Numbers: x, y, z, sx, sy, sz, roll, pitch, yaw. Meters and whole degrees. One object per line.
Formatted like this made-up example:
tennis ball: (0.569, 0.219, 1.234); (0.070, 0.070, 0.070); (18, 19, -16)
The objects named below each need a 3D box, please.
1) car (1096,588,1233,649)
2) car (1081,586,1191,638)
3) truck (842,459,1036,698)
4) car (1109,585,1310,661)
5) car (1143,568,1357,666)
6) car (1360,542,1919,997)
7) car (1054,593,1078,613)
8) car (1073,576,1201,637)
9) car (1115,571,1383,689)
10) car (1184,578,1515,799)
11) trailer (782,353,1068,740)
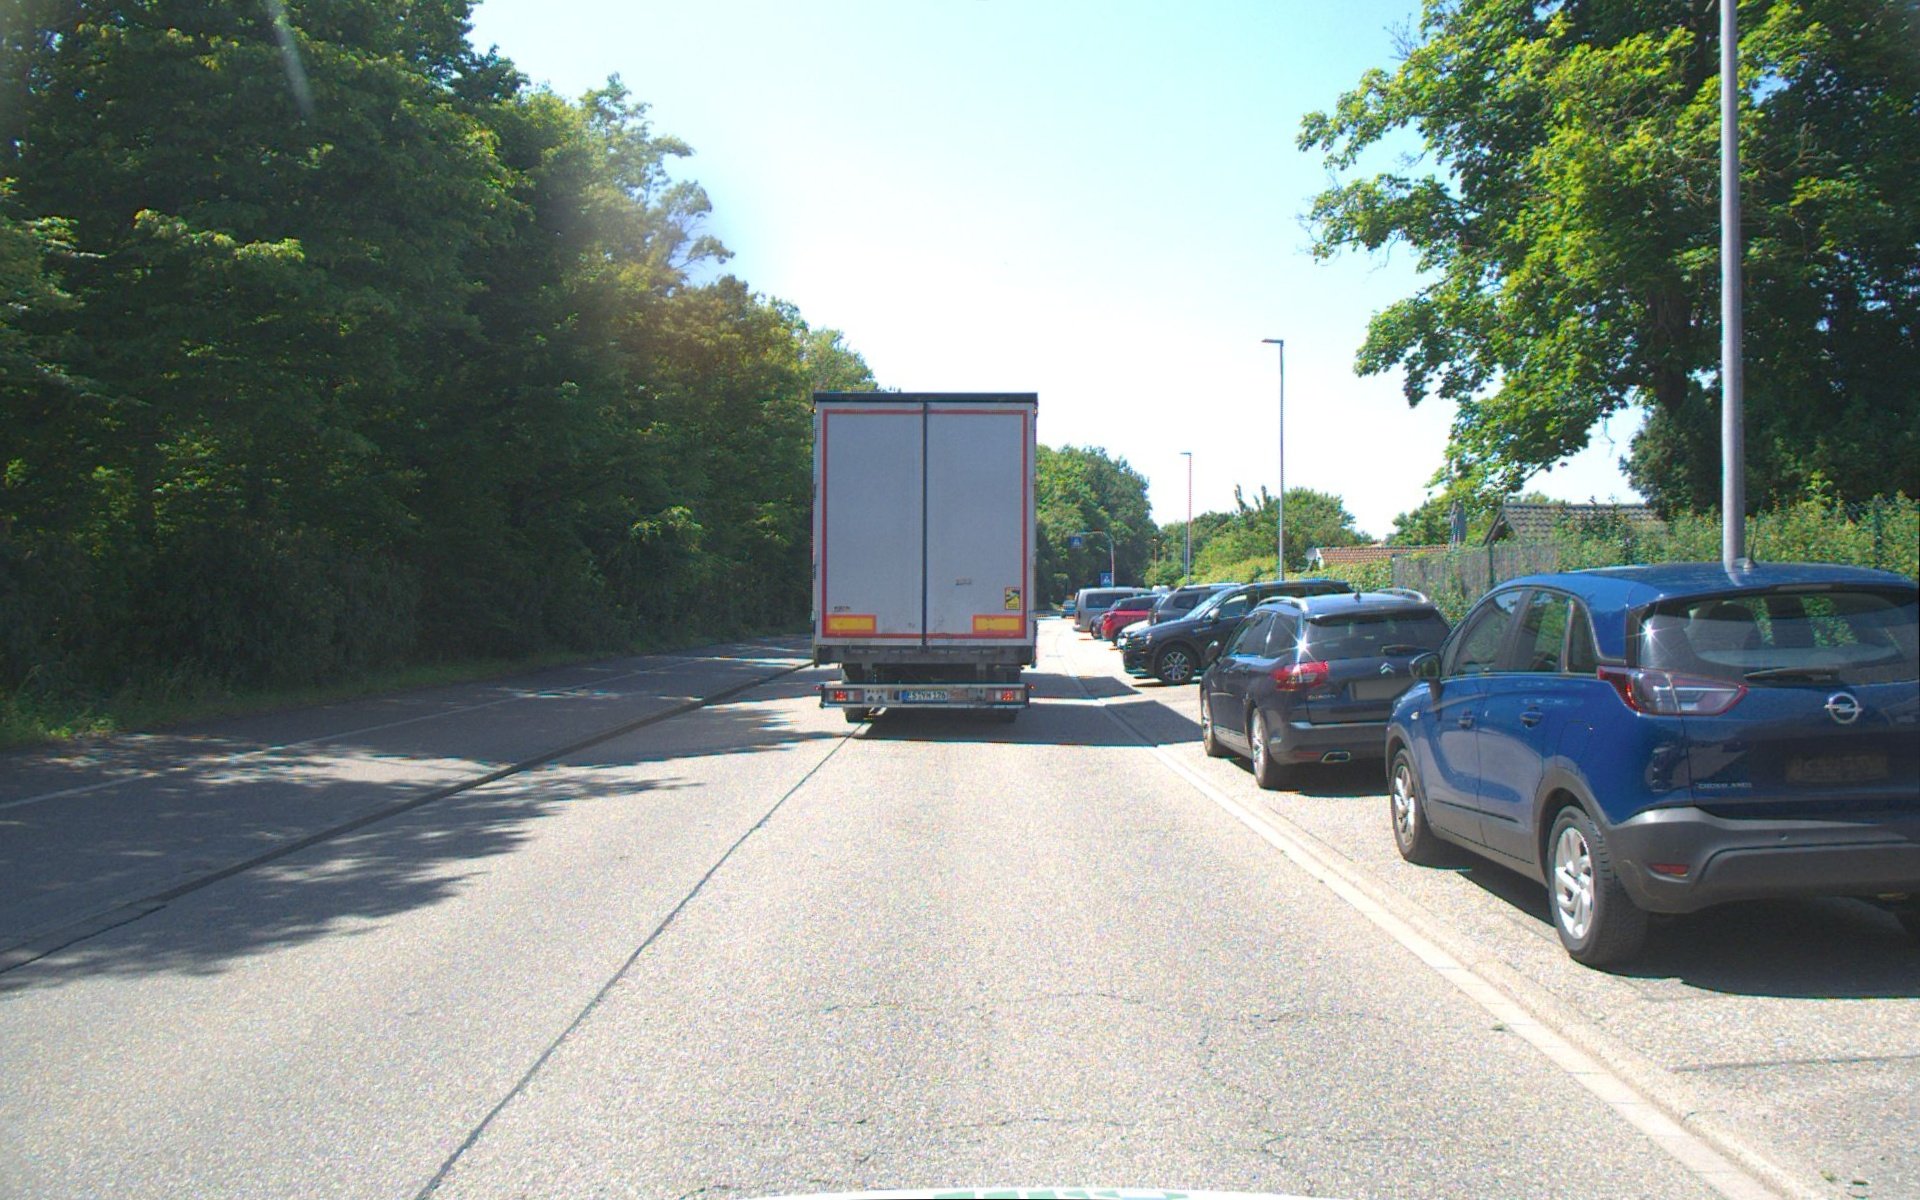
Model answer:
car: (6.043, 0.542, 49.194); (3.838, 1.504, 1.846); (-4, 0, 3)
car: (6.125, 0.413, 57.775); (3.504, 1.528, 1.841); (-4, 0, -2)
truck: (-0.303, -0.364, 29.928); (3.050, 3.790, 6.414); (-1, 0, 1)
car: (5.941, 0.533, 39.760); (4.466, 1.464, 1.961); (-4, 0, -1)
car: (6.045, 0.346, 34.863); (4.169, 1.728, 1.854); (-4, 0, 3)
car: (3.349, 0.579, 8.097); (1.753, 1.631, 4.129); (-1, 1, 0)
car: (8.298, 0.244, 129.103); (1.743, 1.512, 4.003); (0, 0, 5)
car: (6.484, 0.216, 60.960); (4.525, 1.880, 1.997); (-4, 0, 4)
car: (5.114, 0.514, 29.703); (4.379, 1.733, 1.914); (-4, 0, 0)
car: (3.200, 0.638, 14.570); (1.753, 1.507, 4.665); (-4, 0, 0)
trailer: (-0.353, -0.593, 23.838); (3.049, 4.174, 11.536); (-1, 0, 0)
